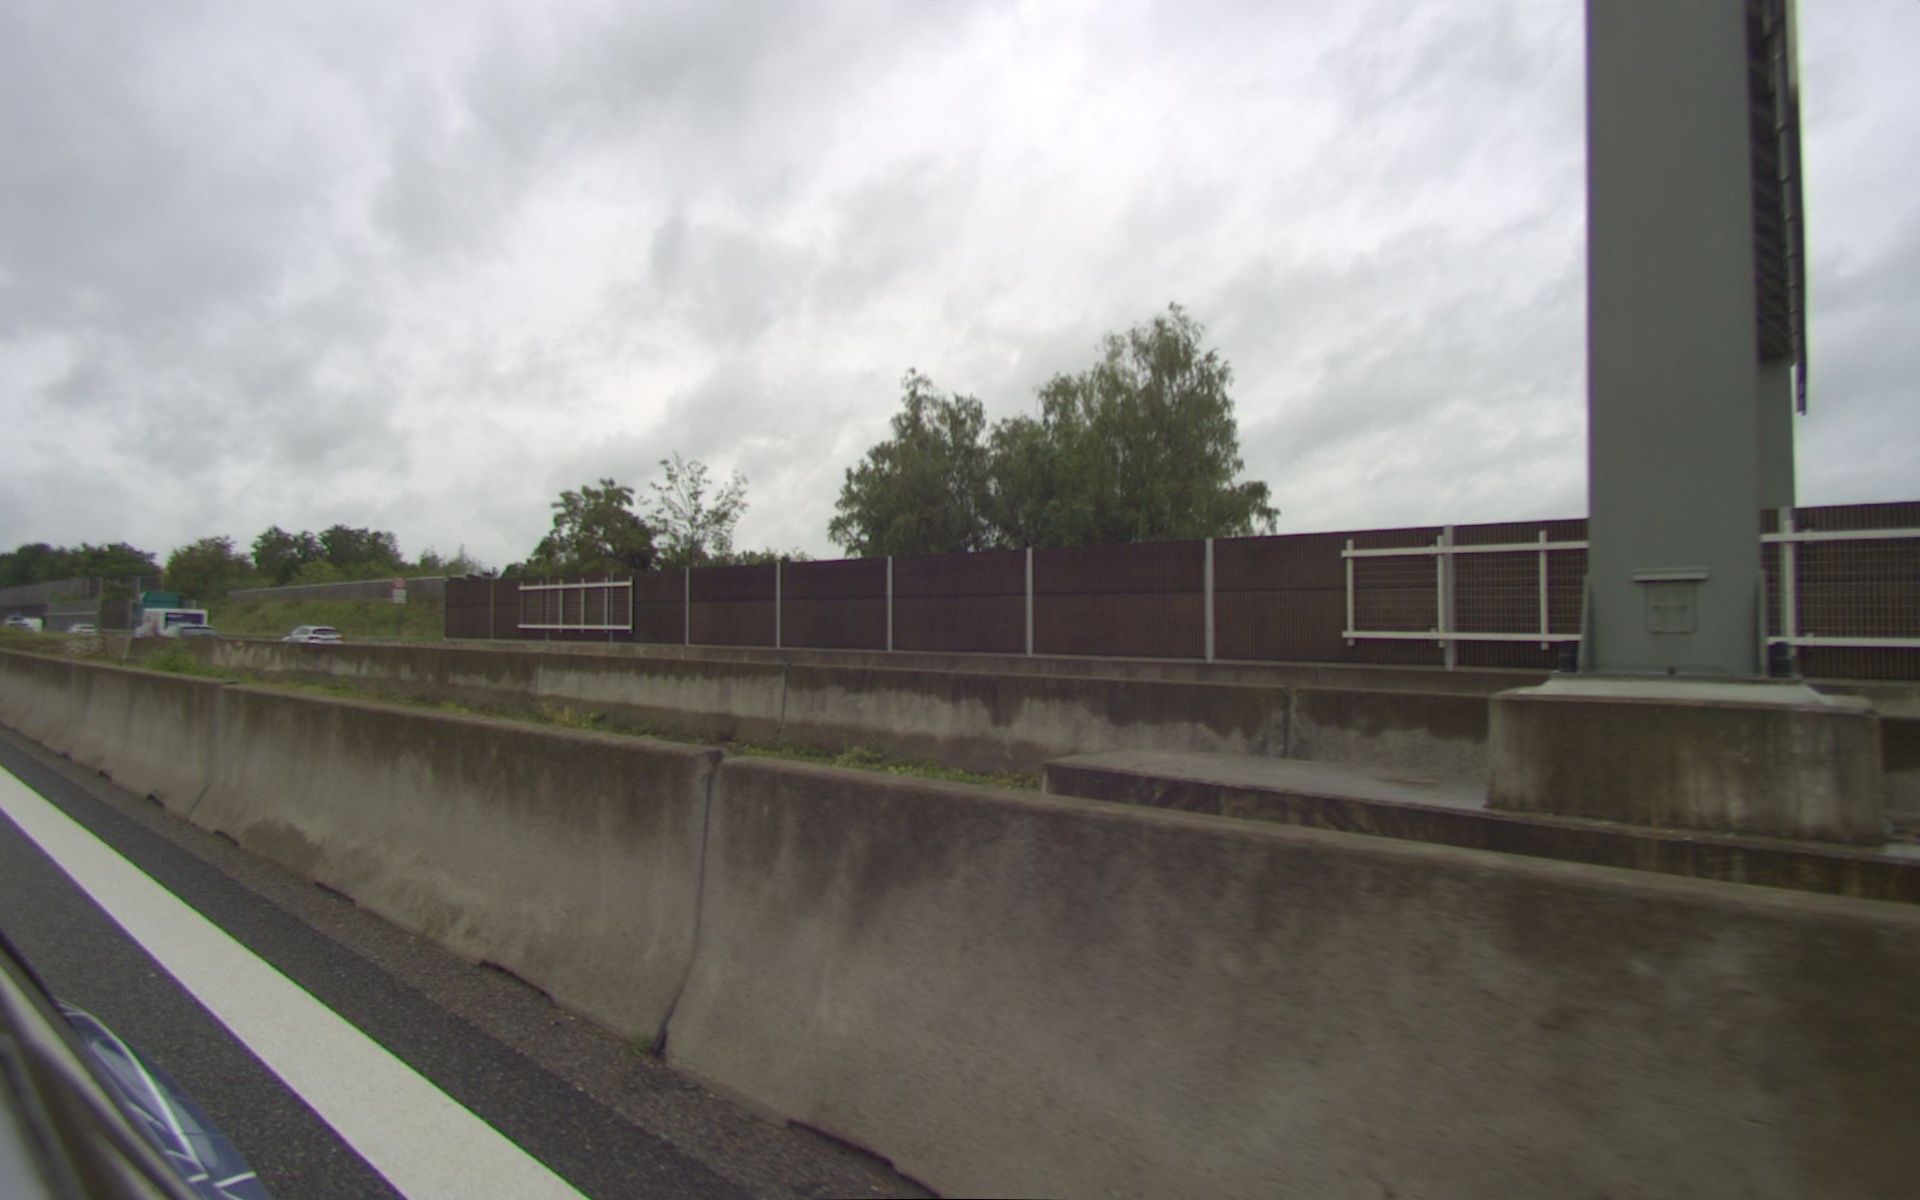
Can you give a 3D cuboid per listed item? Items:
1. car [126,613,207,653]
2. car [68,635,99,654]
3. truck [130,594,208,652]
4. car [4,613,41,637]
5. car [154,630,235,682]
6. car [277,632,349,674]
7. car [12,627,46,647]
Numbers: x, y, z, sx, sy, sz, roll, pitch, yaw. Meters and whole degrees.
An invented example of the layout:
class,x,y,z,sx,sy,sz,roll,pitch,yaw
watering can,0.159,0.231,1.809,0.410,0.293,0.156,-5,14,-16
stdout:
class,x,y,z,sx,sy,sz,roll,pitch,yaw
car,-43.420,1.785,55.289,7.055,2.029,2.191,-1,-1,41
car,-76.869,3.863,88.754,3.294,1.502,1.635,-1,0,41
truck,-55.791,1.612,71.329,7.516,3.867,2.833,-1,0,40
car,-83.343,2.198,89.933,5.617,2.029,1.972,-1,-1,42
car,-30.660,2.199,40.503,3.999,1.936,1.848,-1,-1,42
car,-32.658,2.636,51.063,3.996,1.996,1.973,-1,-1,40
car,-96.075,3.792,104.391,5.950,2.029,1.887,-1,-1,41
